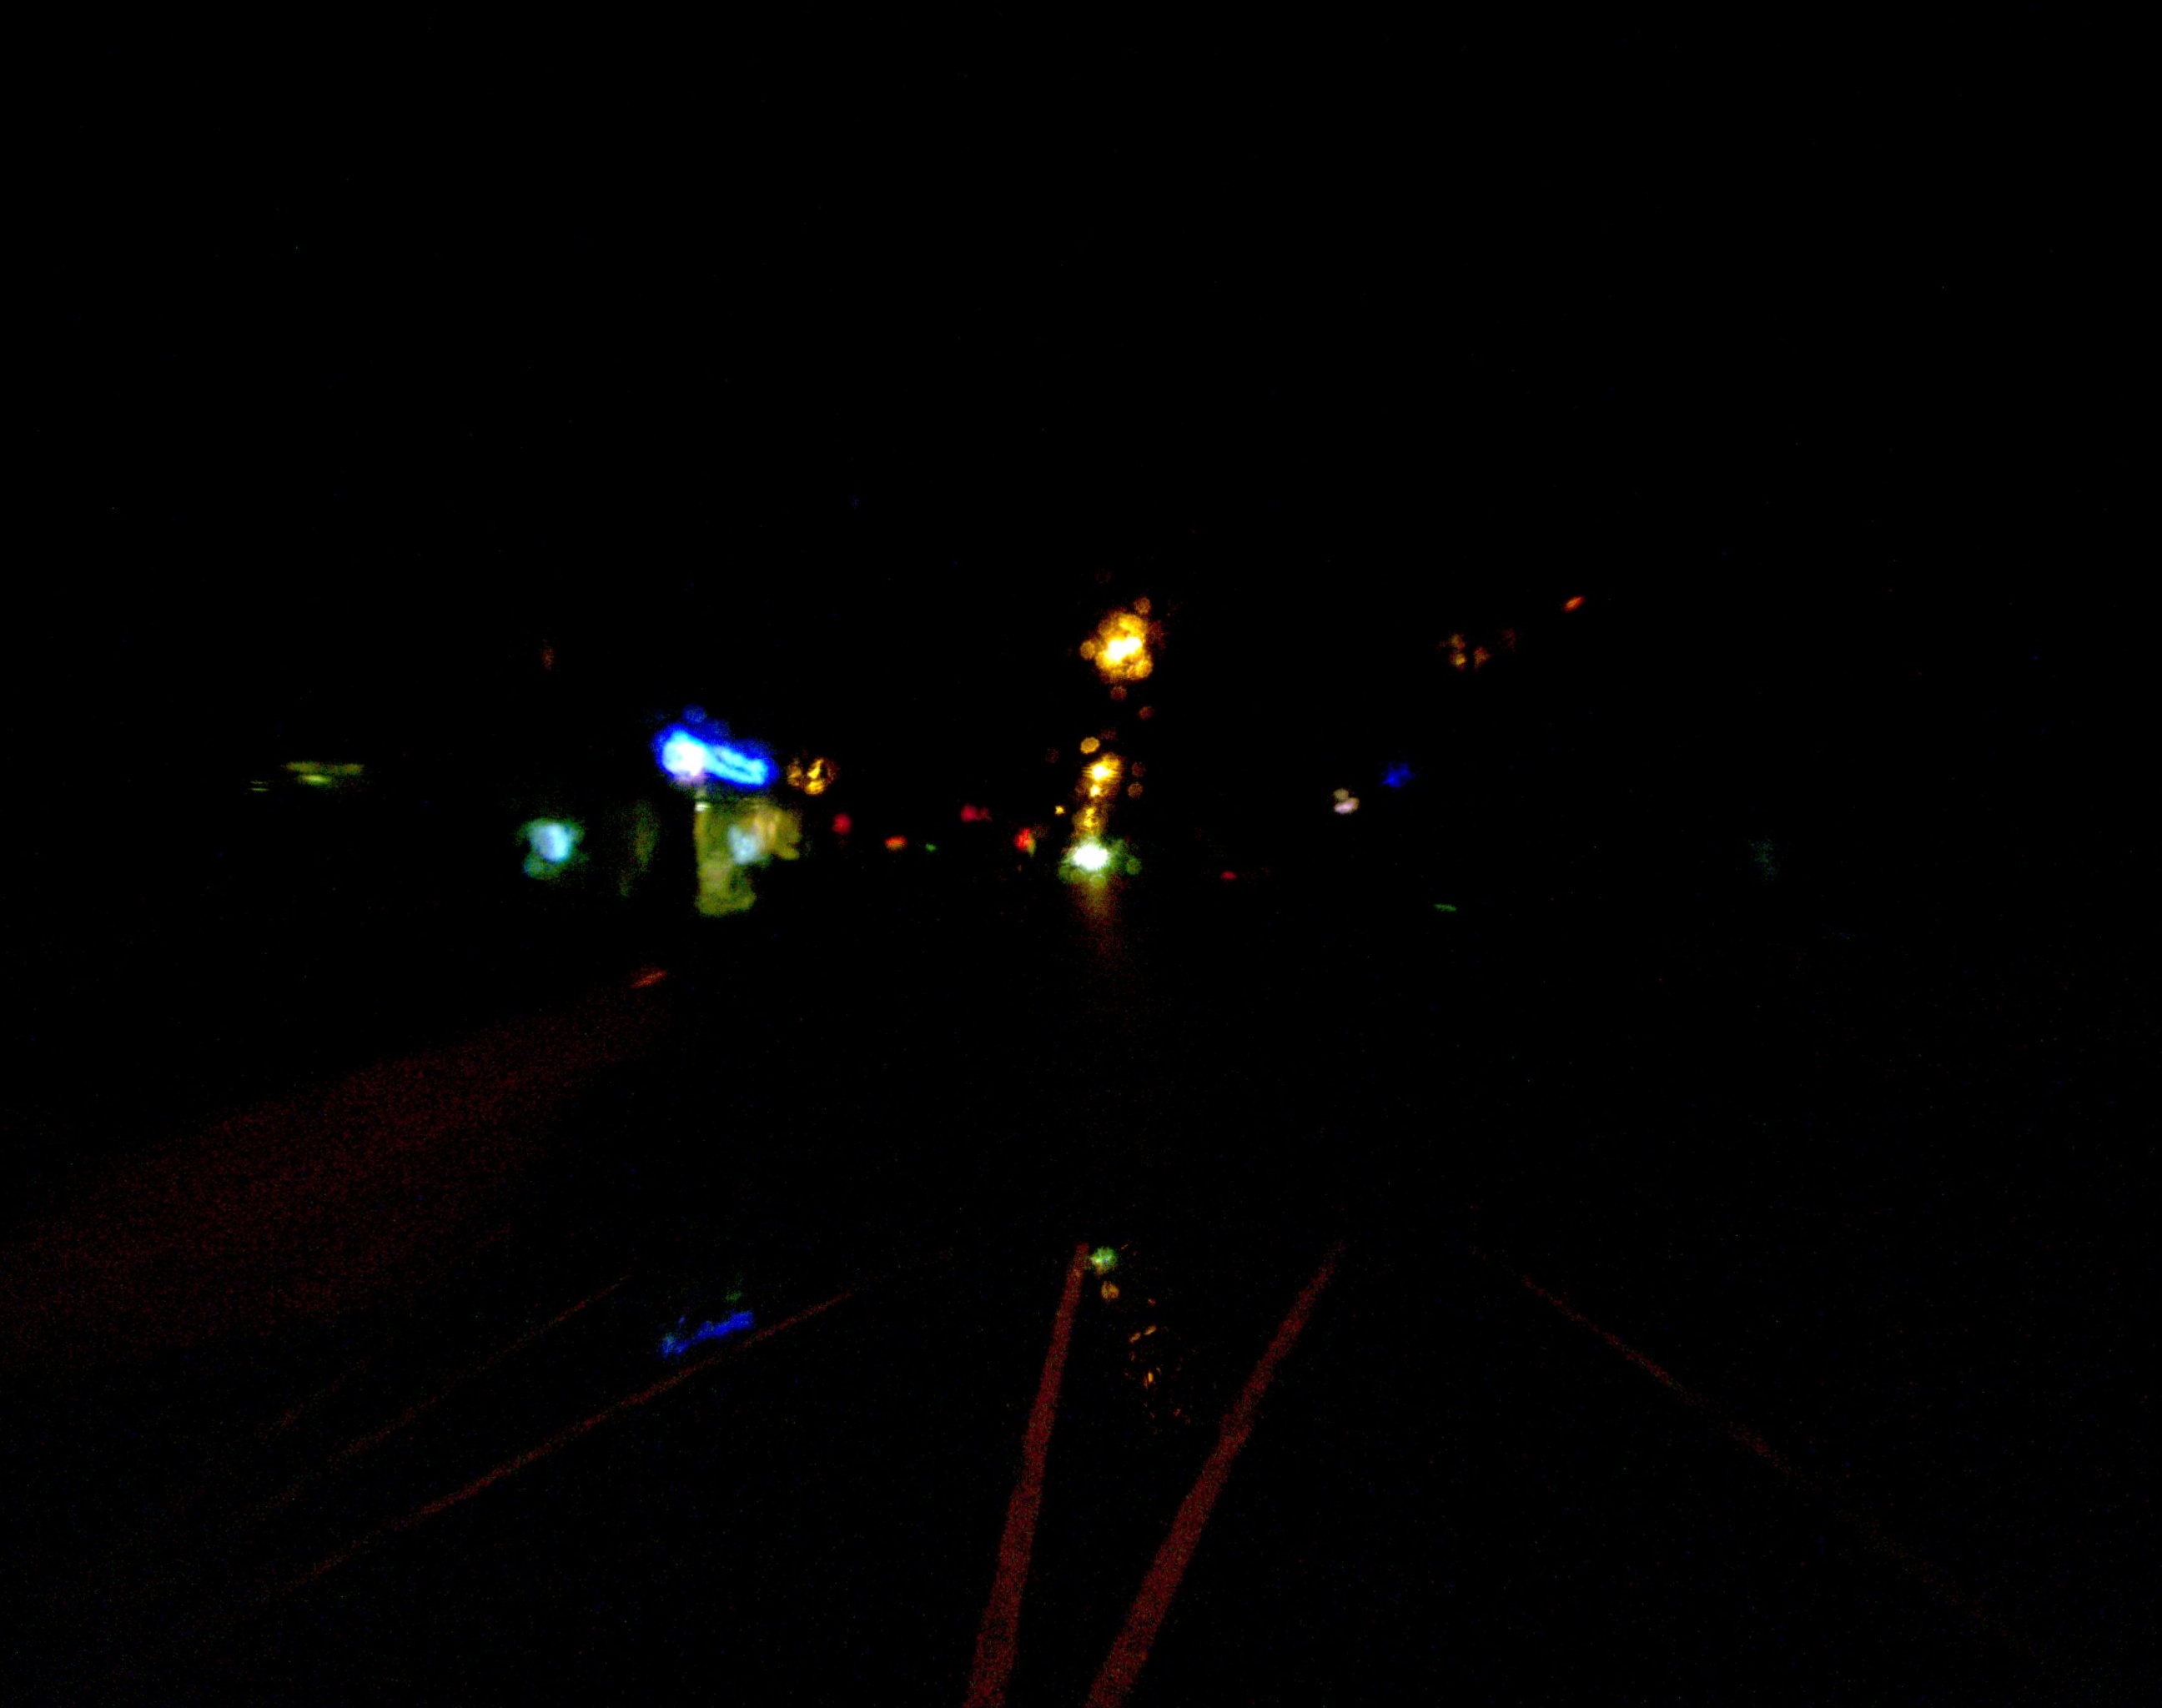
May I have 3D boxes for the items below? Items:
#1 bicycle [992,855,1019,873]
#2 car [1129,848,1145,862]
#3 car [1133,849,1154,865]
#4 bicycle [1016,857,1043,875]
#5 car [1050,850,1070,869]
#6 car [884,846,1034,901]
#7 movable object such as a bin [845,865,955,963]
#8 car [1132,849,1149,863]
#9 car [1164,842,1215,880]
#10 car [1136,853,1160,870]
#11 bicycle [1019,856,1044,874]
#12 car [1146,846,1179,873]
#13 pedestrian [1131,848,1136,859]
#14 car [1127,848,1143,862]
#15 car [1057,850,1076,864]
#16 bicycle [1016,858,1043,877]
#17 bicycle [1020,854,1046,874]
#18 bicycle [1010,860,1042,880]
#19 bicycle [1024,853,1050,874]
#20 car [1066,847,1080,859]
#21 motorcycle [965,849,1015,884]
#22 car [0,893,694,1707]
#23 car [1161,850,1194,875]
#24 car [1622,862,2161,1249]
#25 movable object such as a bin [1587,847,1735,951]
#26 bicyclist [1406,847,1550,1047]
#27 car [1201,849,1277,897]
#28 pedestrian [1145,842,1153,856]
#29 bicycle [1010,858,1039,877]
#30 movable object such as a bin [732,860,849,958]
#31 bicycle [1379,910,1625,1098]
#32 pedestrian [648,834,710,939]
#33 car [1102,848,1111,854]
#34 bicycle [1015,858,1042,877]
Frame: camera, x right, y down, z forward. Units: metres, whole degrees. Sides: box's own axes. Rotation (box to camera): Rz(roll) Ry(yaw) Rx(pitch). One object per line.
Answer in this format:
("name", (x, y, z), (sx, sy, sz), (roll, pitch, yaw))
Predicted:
("bicycle", (-4.530, 0.596, 45.797), (1.533, 0.947, 0.366), (5, 2, -3))
("car", (6.279, 0.159, 84.503), (1.696, 1.470, 3.385), (-1, -1, 5))
("car", (5.966, 0.278, 72.682), (1.731, 1.445, 4.272), (-1, 0, 1))
("bicycle", (-3.201, 0.742, 47.054), (1.532, 1.018, 0.366), (5, 2, 4))
("car", (-1.928, 0.471, 71.342), (1.676, 1.712, 3.856), (0, 1, 1))
("car", (-3.859, 0.592, 24.591), (4.524, 1.522, 1.780), (3, 1, 0))
("movable object such as a bin", (-2.921, 0.905, 12.226), (1.344, 1.421, 1.198), (-1, 1, -36))
("car", (6.084, 0.211, 78.323), (1.531, 1.445, 3.383), (-1, 0, 1))
("car", (5.549, 0.307, 39.627), (2.001, 1.819, 5.206), (-1, 0, 1))
("car", (5.841, 0.644, 66.570), (1.731, 1.384, 4.555), (-1, 0, 1))
("bicycle", (-3.156, 0.719, 48.360), (1.532, 1.018, 0.366), (5, 2, -1))
("car", (5.831, 0.348, 54.611), (1.907, 1.819, 4.829), (-1, 0, 1))
("pedestrian", (9.475, -0.052, 137.419), (0.776, 2.002, 0.587), (-3, 1, 1))
("car", (6.246, 0.130, 88.534), (1.697, 1.470, 3.964), (-1, -1, 2))
("car", (-1.552, 0.273, 83.108), (1.846, 1.498, 4.162), (0, 1, 1))
("bicycle", (-3.054, 0.804, 45.047), (1.533, 0.947, 0.366), (5, 2, -3))
("bicycle", (-3.127, 0.640, 49.489), (1.532, 1.195, 0.366), (5, 2, -1))
("bicycle", (-3.103, 0.894, 42.724), (1.672, 0.947, 0.366), (5, 2, 8))
("bicycle", (-2.898, 0.621, 49.938), (1.532, 1.195, 0.366), (5, 2, 3))
("car", (-1.070, -0.132, 108.134), (1.846, 1.687, 4.162), (0, 1, 1))
("motorcycle", (-4.468, 0.618, 37.429), (2.294, 1.579, 0.866), (3, 1, 0))
("car", (-2.911, 0.946, 1.474), (1.998, 1.455, 4.416), (-1, 1, 1))
("car", (5.772, 0.475, 45.626), (1.573, 1.451, 3.720), (-1, 0, 1))
("car", (5.278, 0.849, 4.381), (1.676, 1.482, 3.721), (-2, 1, 1))
("movable object such as a bin", (8.498, 0.620, 11.229), (1.104, 1.446, 1.378), (0, 1, -1))
("bicyclist", (3.261, 0.720, 6.320), (0.720, 1.547, 0.895), (0, 1, 0))
("car", (5.555, 0.617, 27.313), (1.771, 1.474, 4.772), (-4, 0, 1))
("pedestrian", (8.693, -0.665, 97.026), (0.912, 1.778, 0.629), (-3, 1, 1))
("bicycle", (-3.251, 0.767, 43.418), (1.531, 0.947, 0.366), (5, 2, 8))
("movable object such as a bin", (-4.480, 0.825, 11.794), (1.311, 1.421, 1.051), (-1, 1, 10))
("bicycle", (3.265, 1.088, 6.245), (0.729, 1.066, 2.348), (0, 1, 1))
("pedestrian", (-7.028, 0.558, 13.303), (0.704, 1.778, 0.624), (1, 0, 4))
("car", (5.854, -0.638, 175.851), (1.877, 1.386, 4.075), (-1, -1, 4))
("bicycle", (-3.071, 0.796, 44.506), (1.533, 0.947, 0.366), (5, 2, -3))
